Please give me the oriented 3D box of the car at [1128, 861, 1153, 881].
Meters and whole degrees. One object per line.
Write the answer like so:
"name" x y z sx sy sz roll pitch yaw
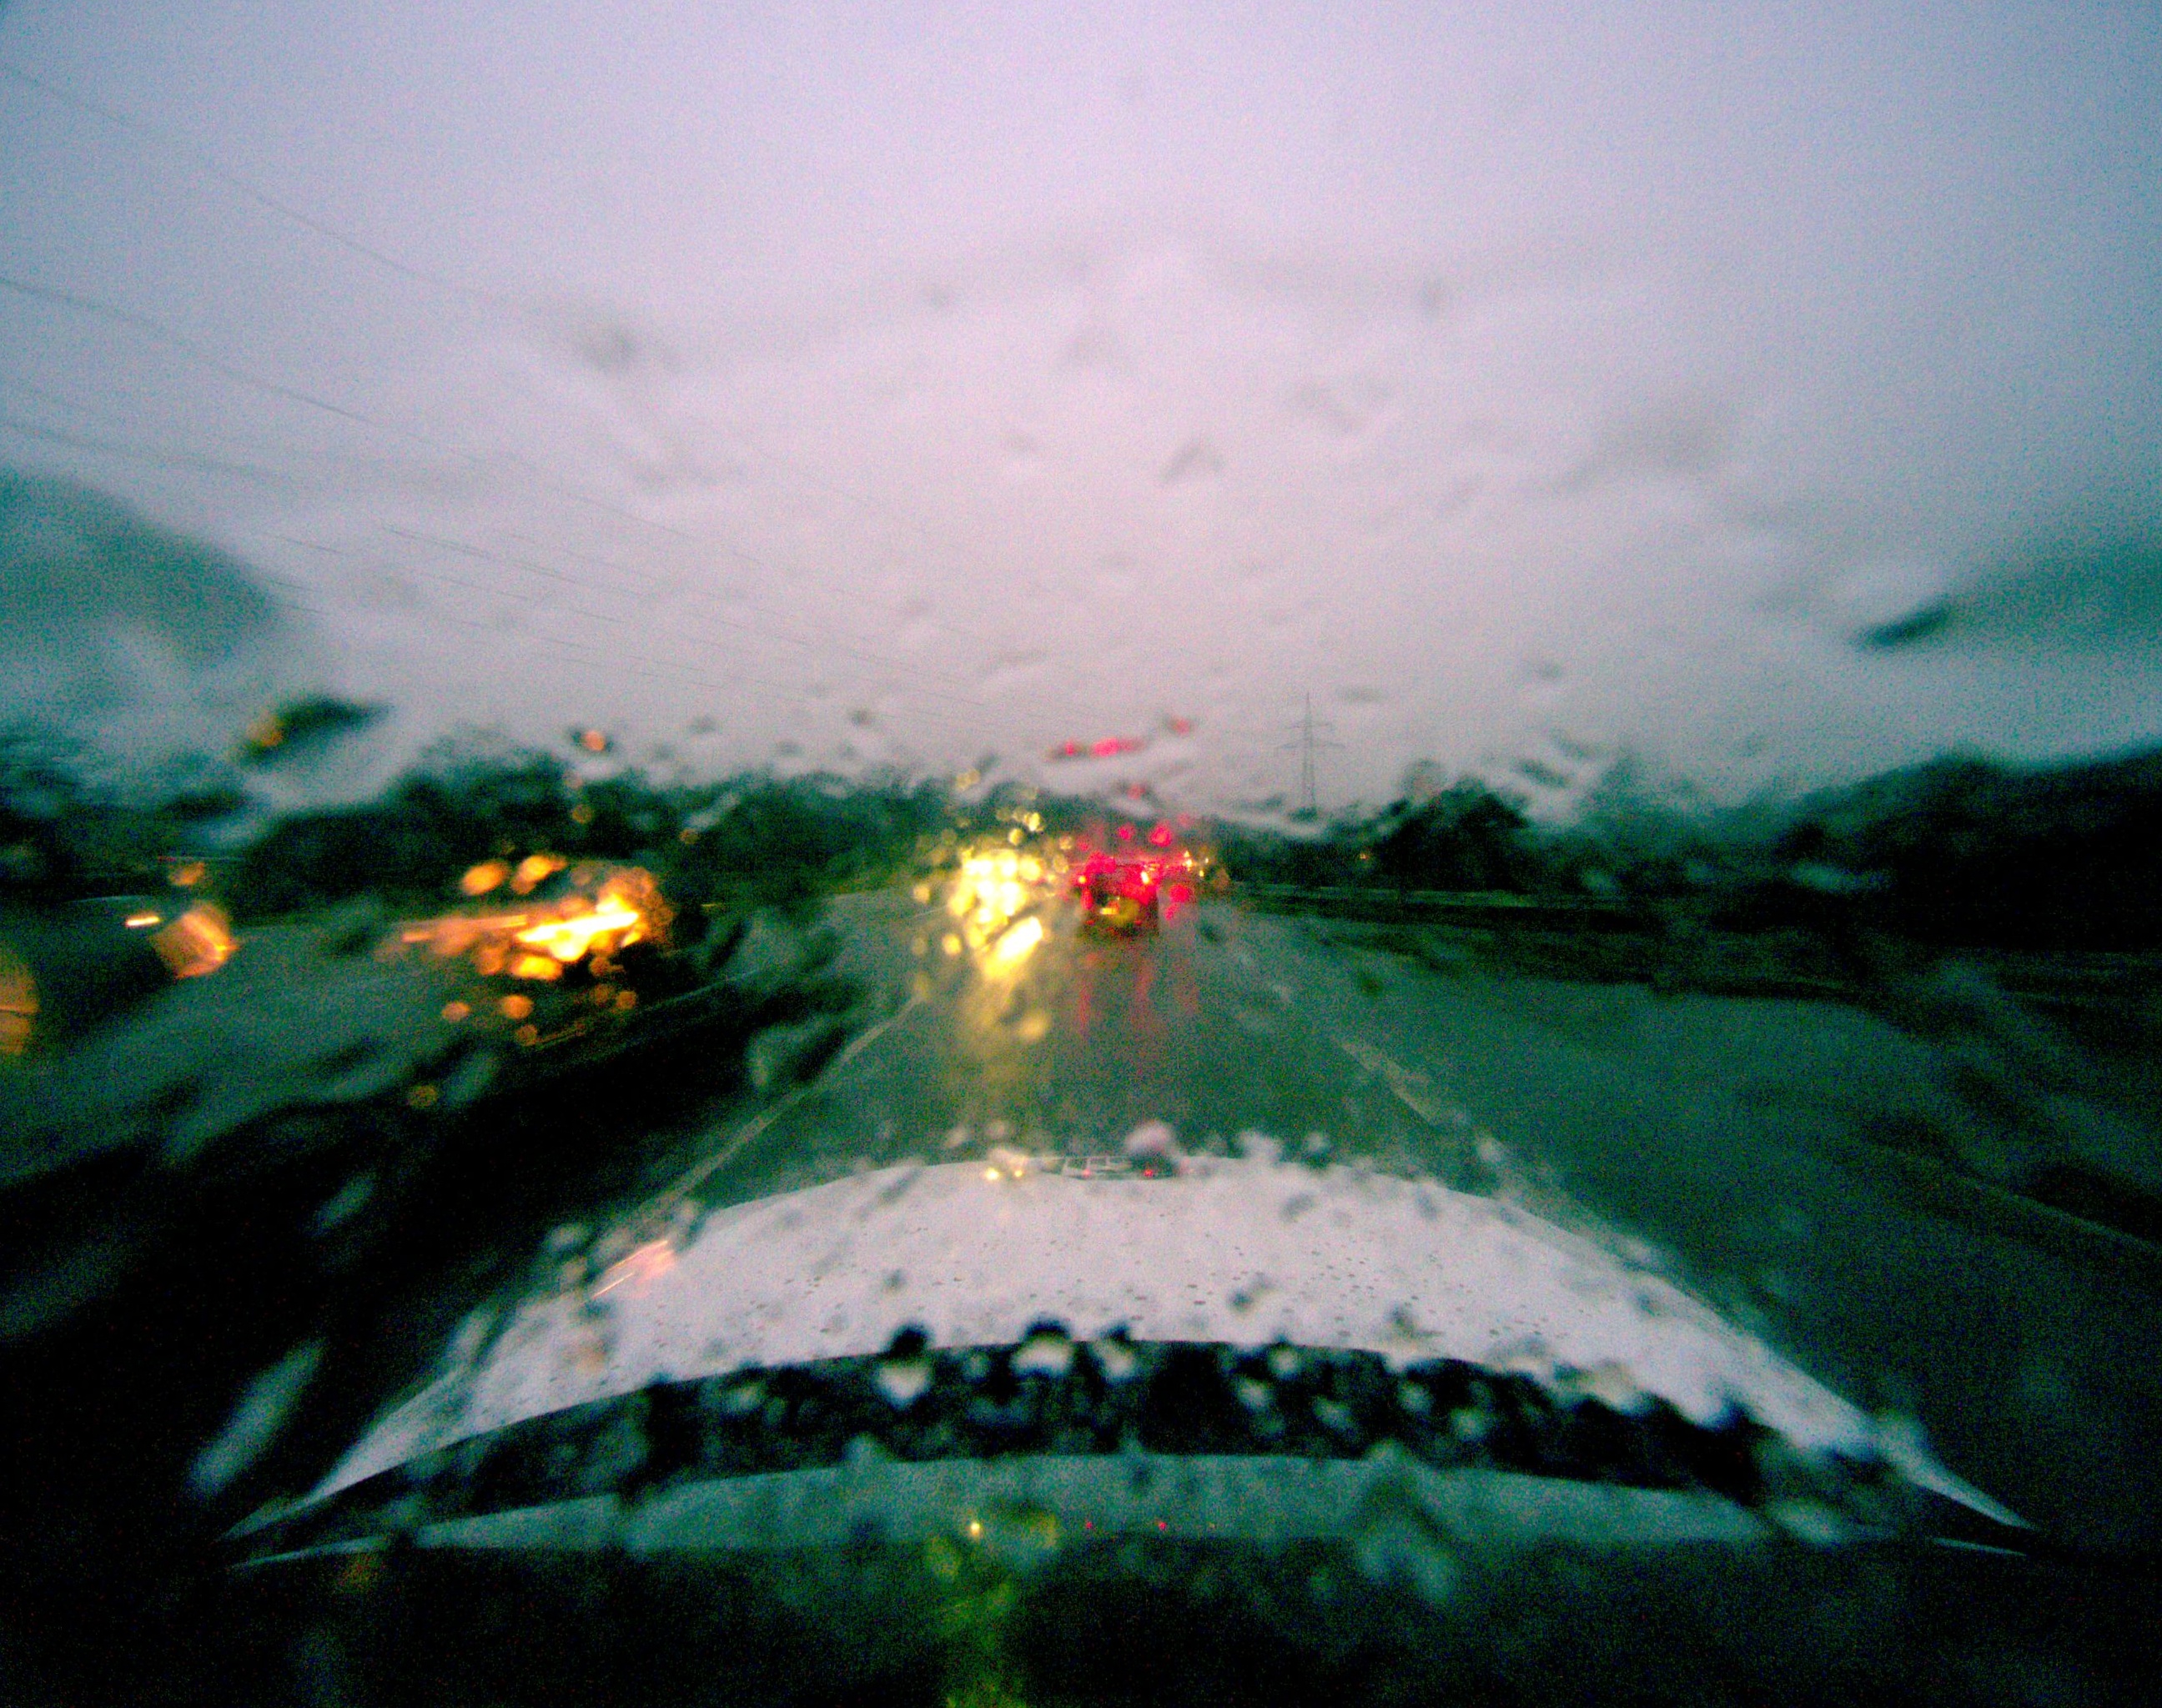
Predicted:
"car" 5.515 1.574 74.920 1.935 1.745 4.010 1 0 9

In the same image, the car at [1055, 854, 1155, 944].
"car" 0.506 0.814 16.535 1.723 1.532 4.044 -2 0 2

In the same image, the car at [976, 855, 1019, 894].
"car" -4.959 1.168 49.067 1.865 2.137 5.181 -2 0 1

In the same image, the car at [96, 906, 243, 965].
"car" -30.141 2.636 26.953 3.813 1.632 1.930 -1 2 21

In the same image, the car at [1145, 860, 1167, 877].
"car" 8.536 1.643 92.637 1.933 1.744 4.013 4 0 12

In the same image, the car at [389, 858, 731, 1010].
"car" -6.280 0.847 10.458 1.640 1.501 4.002 -2 0 2
